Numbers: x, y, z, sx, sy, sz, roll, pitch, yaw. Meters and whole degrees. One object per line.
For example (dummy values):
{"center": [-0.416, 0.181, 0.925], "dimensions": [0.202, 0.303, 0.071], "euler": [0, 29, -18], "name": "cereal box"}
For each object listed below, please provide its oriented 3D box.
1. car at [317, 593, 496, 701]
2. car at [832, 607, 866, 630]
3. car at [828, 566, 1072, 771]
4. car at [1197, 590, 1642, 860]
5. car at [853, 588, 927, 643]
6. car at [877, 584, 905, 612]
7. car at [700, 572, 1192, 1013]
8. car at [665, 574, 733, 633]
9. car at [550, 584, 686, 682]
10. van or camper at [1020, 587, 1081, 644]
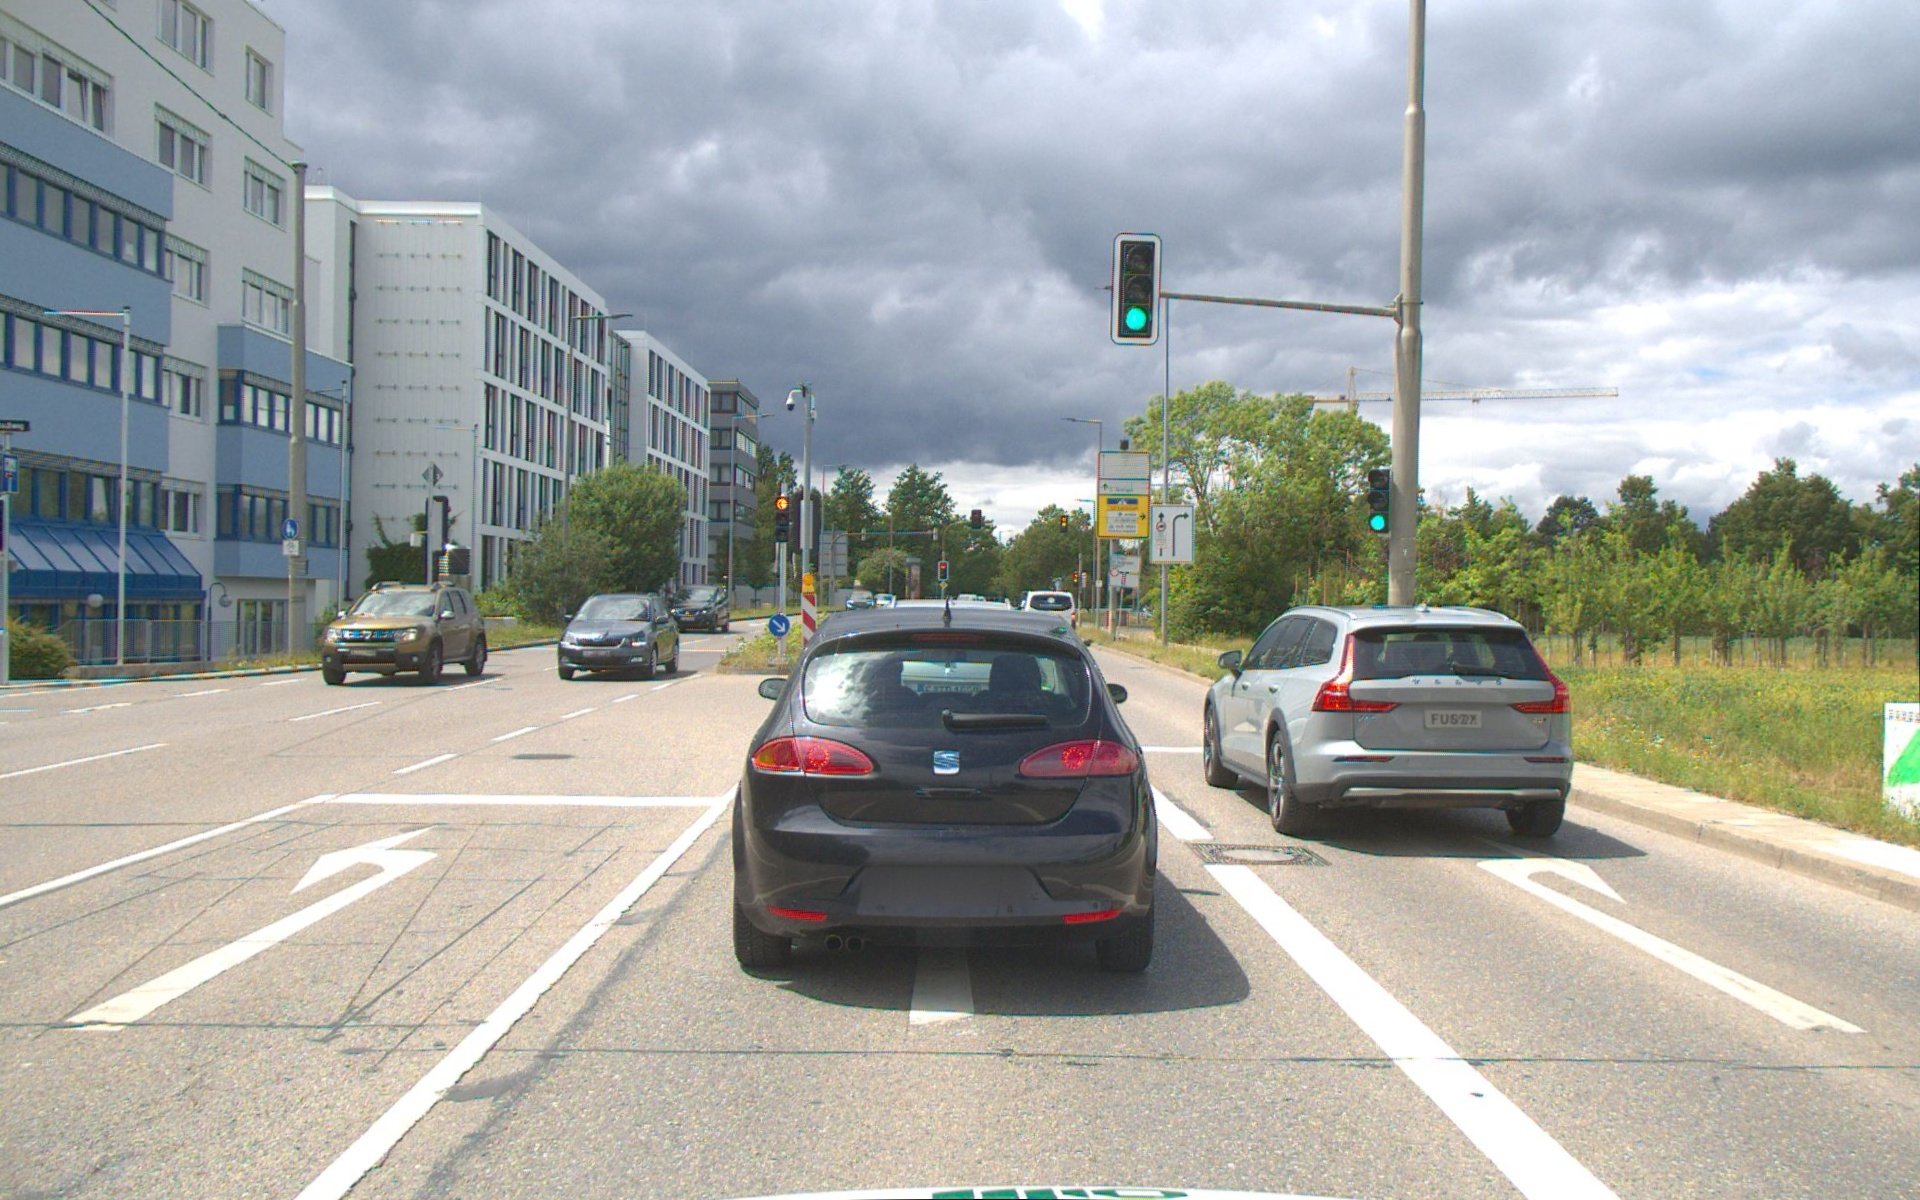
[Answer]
{"center": [-9.285, 0.736, 28.068], "dimensions": [1.715, 1.659, 3.999], "euler": [-1, 0, -1], "name": "car"}
{"center": [-6.972, 1.175, 104.194], "dimensions": [1.953, 1.434, 3.999], "euler": [0, -1, -1], "name": "car"}
{"center": [-0.134, 0.572, 15.417], "dimensions": [1.943, 1.618, 4.224], "euler": [1, -1, -2], "name": "car"}
{"center": [3.026, 0.755, 11.927], "dimensions": [1.918, 1.552, 4.339], "euler": [-1, -1, -1], "name": "car"}
{"center": [-1.943, 0.437, 47.089], "dimensions": [1.807, 1.487, 4.056], "euler": [0, -1, 1], "name": "car"}
{"center": [-5.232, -0.127, 125.892], "dimensions": [1.953, 2.049, 3.999], "euler": [0, -1, -1], "name": "car"}
{"center": [0.036, 0.698, 7.896], "dimensions": [1.711, 1.510, 4.001], "euler": [2, 0, 2], "name": "car"}
{"center": [-9.452, 0.137, 60.186], "dimensions": [1.954, 2.049, 4.478], "euler": [0, -1, -3], "name": "car"}
{"center": [-6.089, 0.535, 29.869], "dimensions": [1.635, 1.551, 4.007], "euler": [-2, 1, -1], "name": "car"}
{"center": [3.201, 0.545, 59.072], "dimensions": [1.861, 1.959, 3.999], "euler": [0, -1, -2], "name": "van or camper"}
